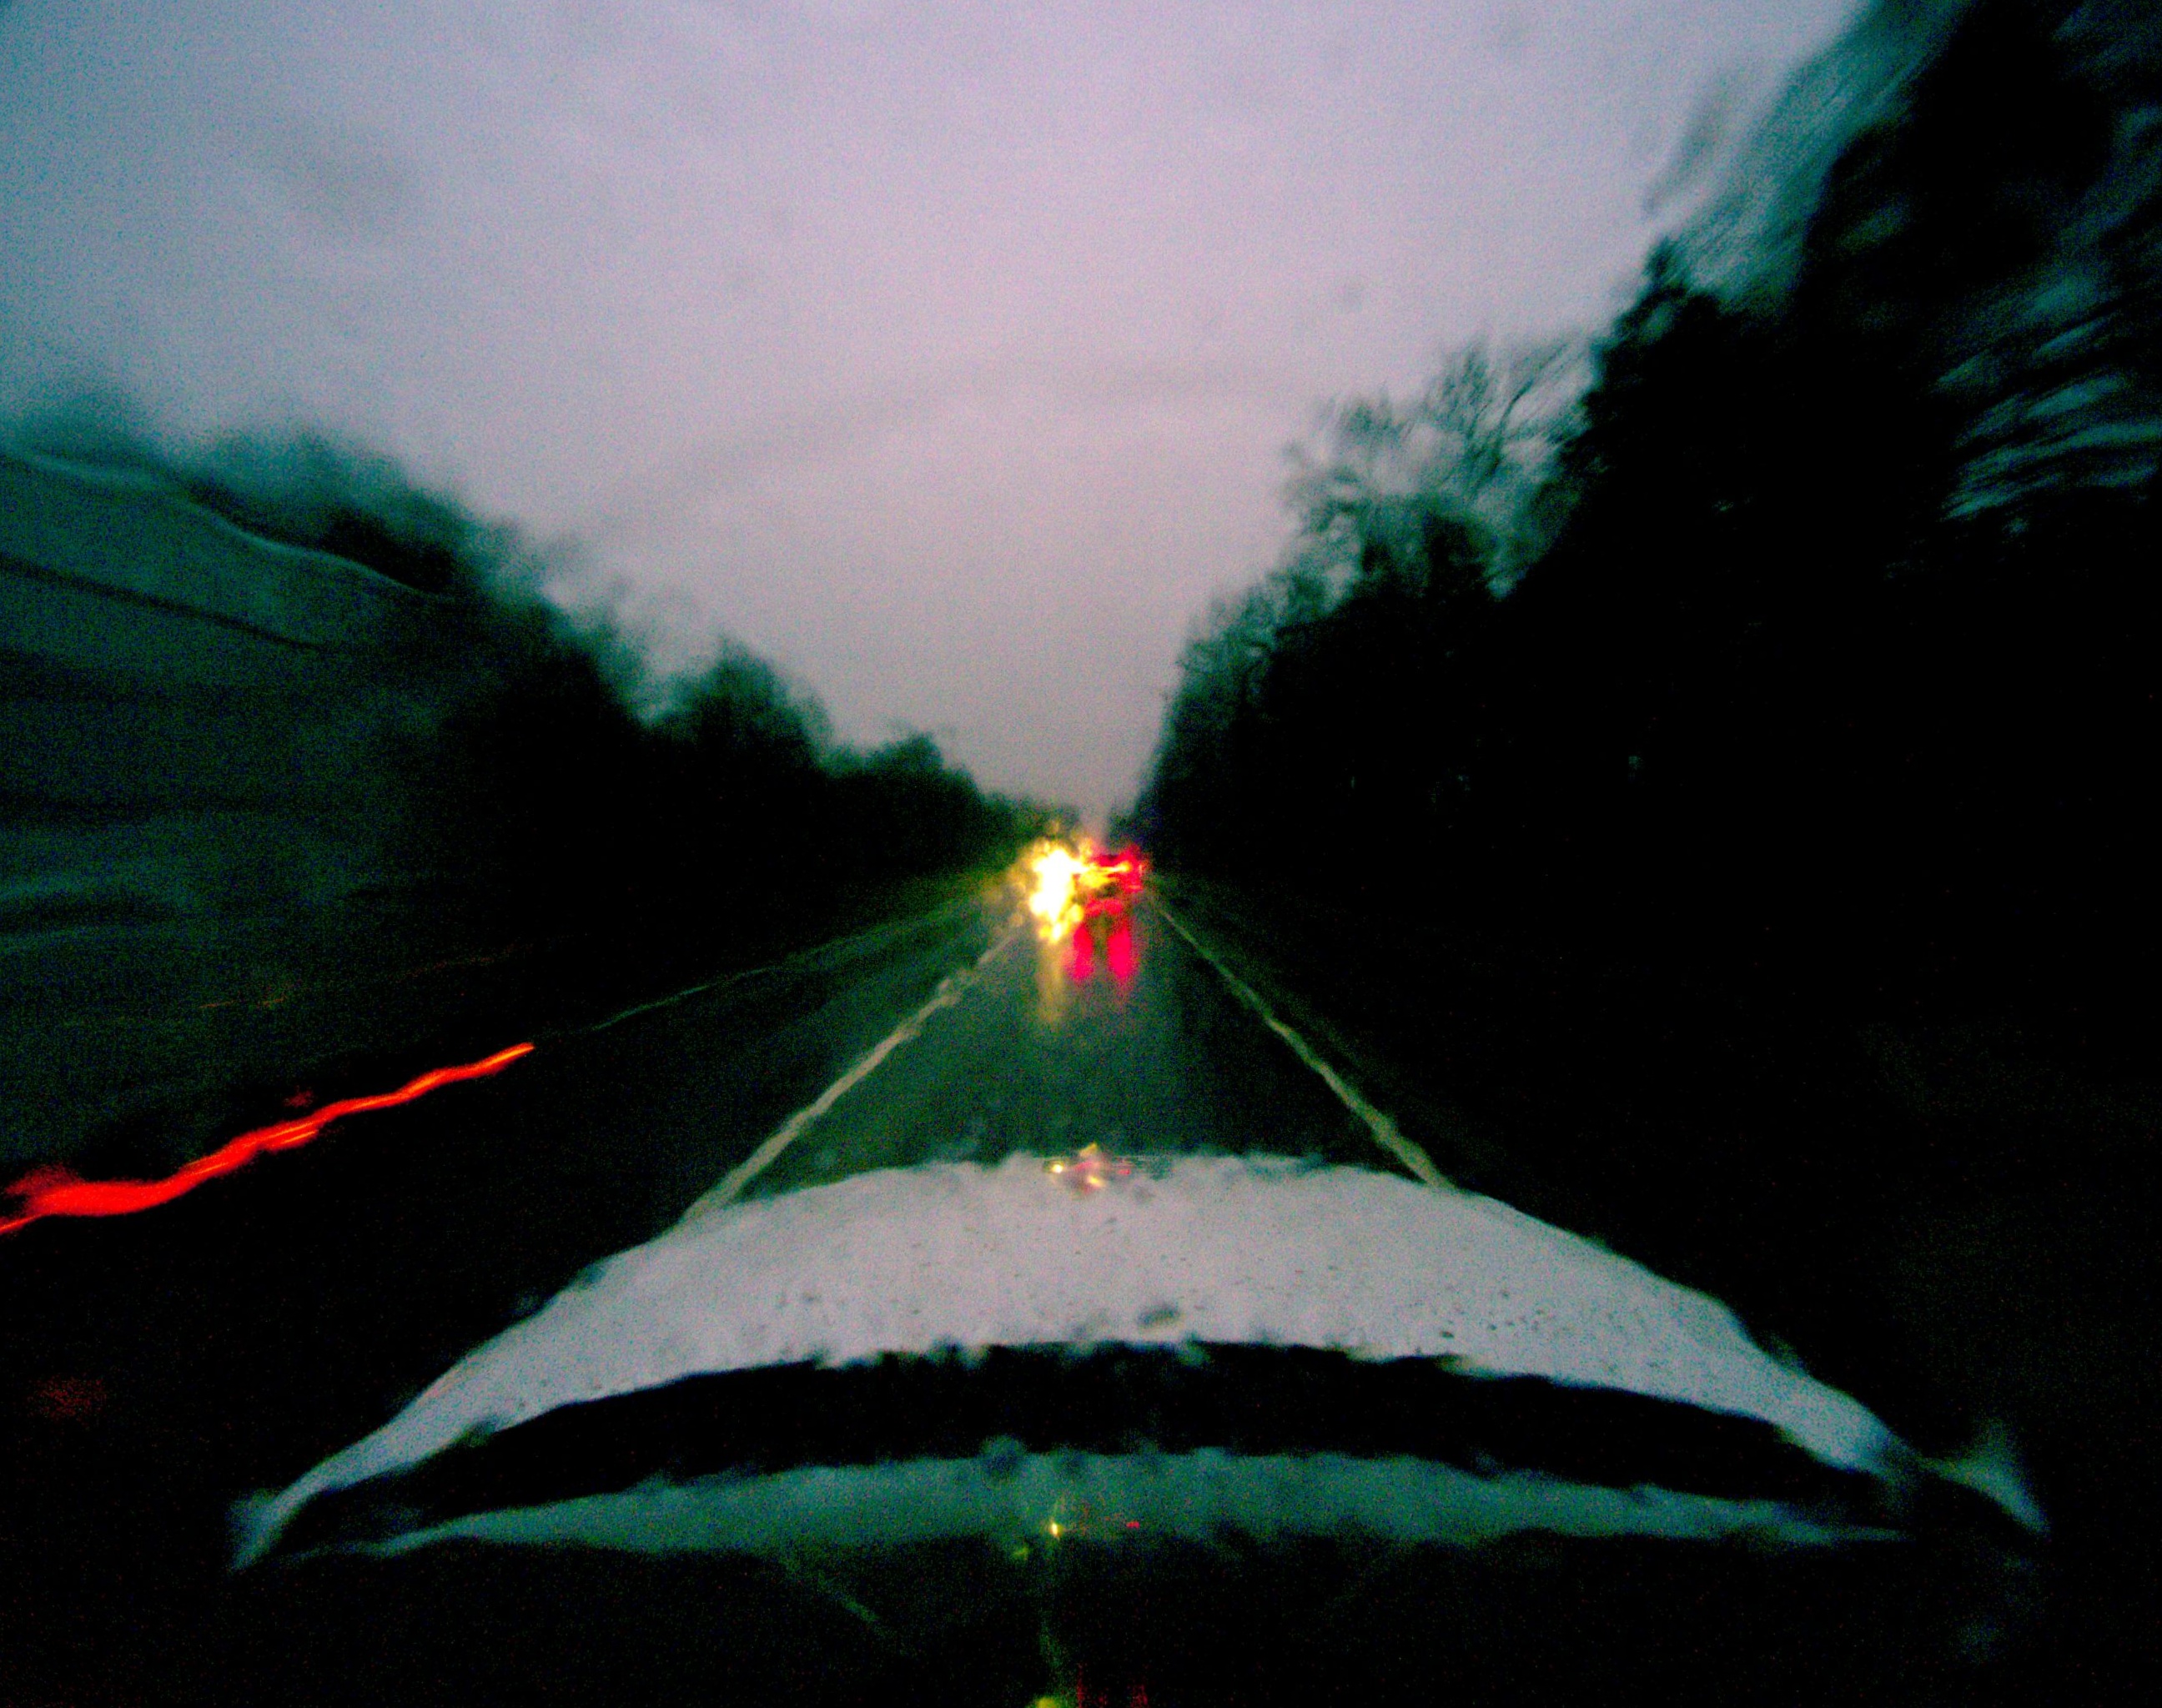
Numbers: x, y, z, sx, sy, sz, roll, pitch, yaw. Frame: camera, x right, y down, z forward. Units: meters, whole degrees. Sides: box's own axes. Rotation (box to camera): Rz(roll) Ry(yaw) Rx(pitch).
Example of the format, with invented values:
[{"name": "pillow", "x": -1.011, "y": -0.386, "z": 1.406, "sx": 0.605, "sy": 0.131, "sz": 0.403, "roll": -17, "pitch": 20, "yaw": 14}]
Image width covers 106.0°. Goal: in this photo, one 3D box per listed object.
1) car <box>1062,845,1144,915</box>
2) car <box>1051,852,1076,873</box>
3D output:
[{"name": "car", "x": 0.650, "y": 0.707, "z": 24.364, "sx": 2.190, "sy": 1.877, "sz": 4.828, "roll": 0, "pitch": 0, "yaw": 1}, {"name": "car", "x": -1.361, "y": 0.668, "z": 64.424, "sx": 1.688, "sy": 1.560, "sz": 4.131, "roll": 0, "pitch": 1, "yaw": 2}]
